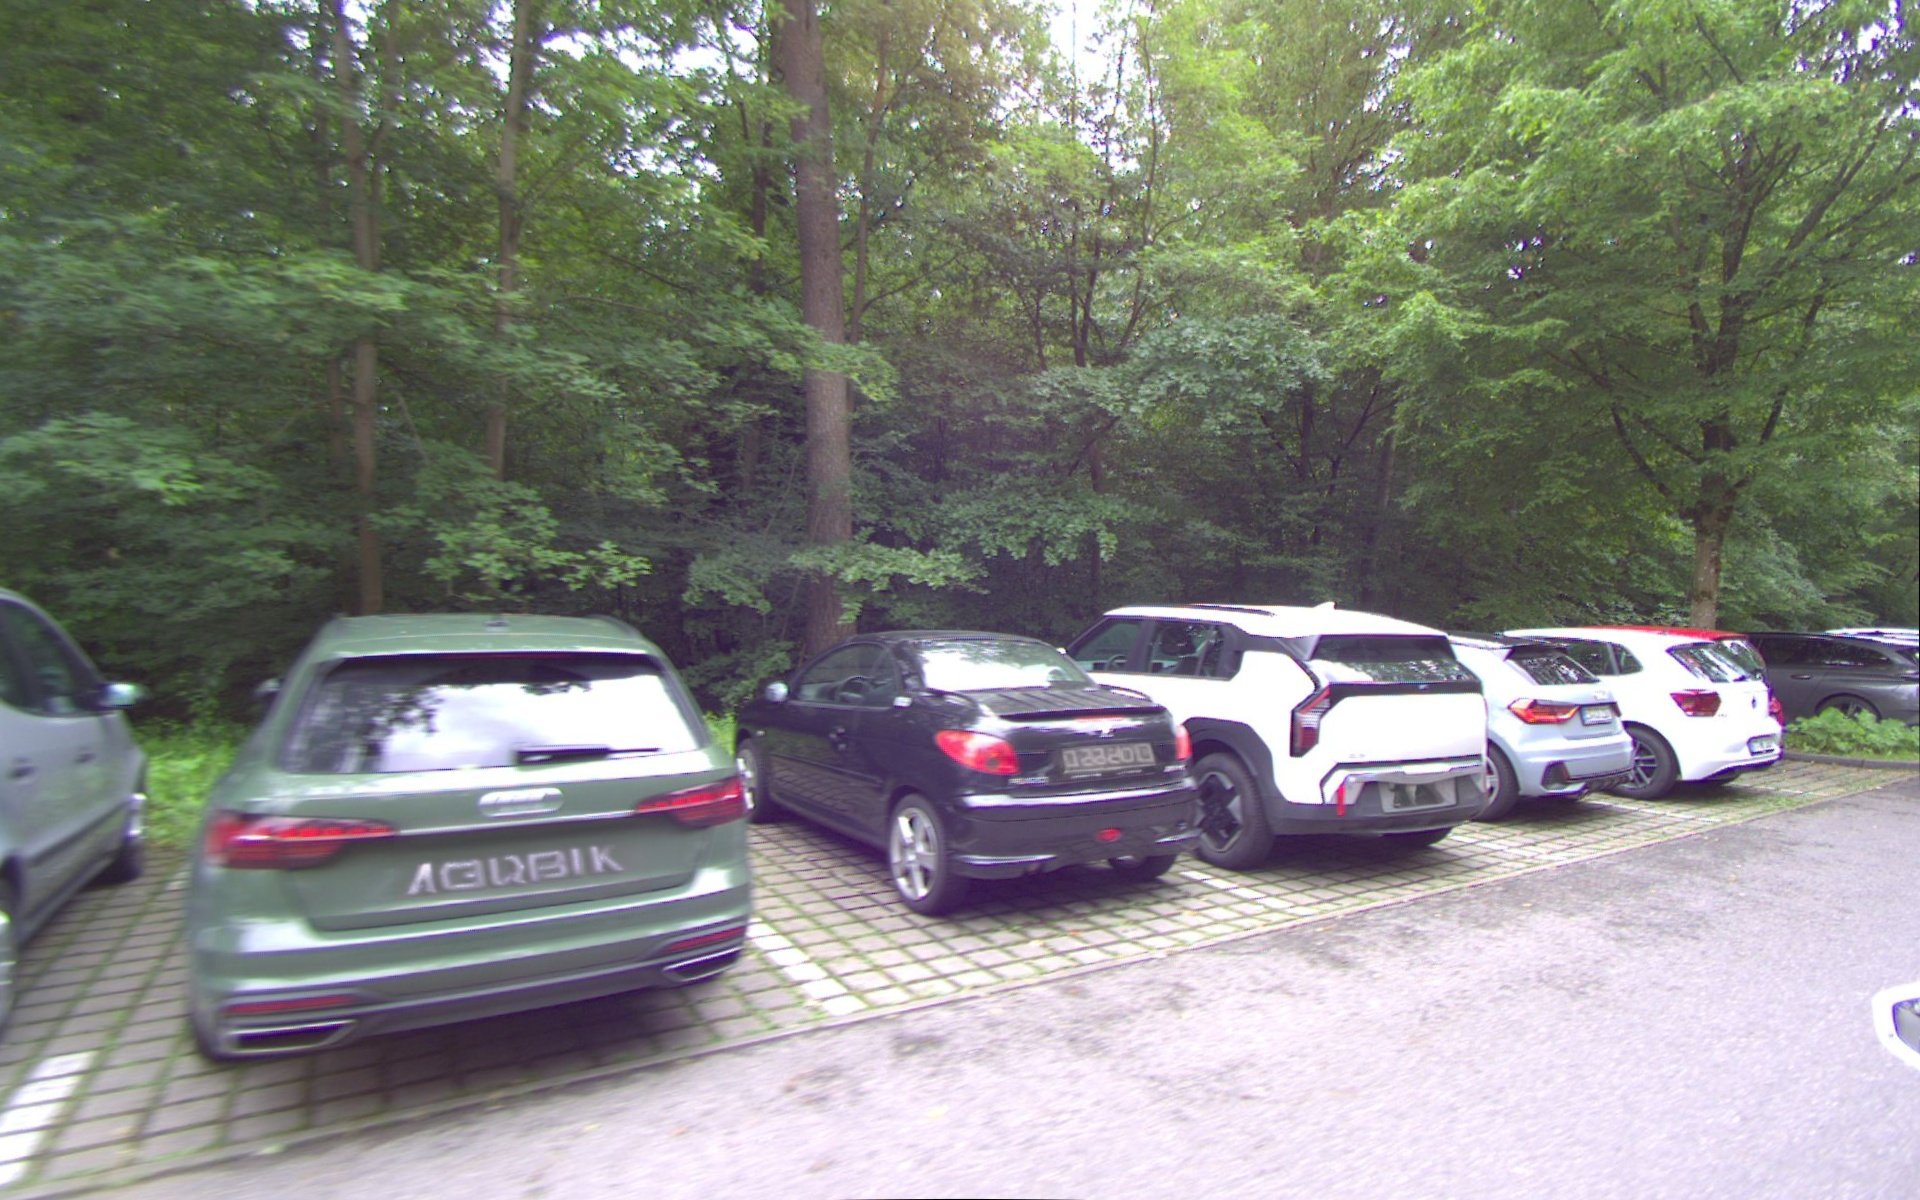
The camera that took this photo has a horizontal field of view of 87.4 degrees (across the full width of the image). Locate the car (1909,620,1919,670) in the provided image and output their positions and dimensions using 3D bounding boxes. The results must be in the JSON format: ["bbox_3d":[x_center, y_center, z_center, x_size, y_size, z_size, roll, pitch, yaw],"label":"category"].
[{"bbox_3d":[32.879,1.494,31.406,1.910,1.605,4.479,1,0,-39],"label":"car"}]

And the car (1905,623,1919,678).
[{"bbox_3d":[29.234,1.480,28.005,1.904,1.575,4.000,1,0,-40],"label":"car"}]

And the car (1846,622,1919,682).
[{"bbox_3d":[26.735,1.427,27.022,1.834,1.571,4.194,1,0,-43],"label":"car"}]

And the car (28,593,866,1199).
[{"bbox_3d":[-2.369,0.765,4.797,2.071,1.497,4.616,1,-1,-30],"label":"car"}]

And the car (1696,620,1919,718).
[{"bbox_3d":[15.611,1.150,17.371,2.036,1.506,4.239,1,0,-34],"label":"car"}]

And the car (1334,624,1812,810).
[{"bbox_3d":[5.935,0.991,10.141,1.851,1.438,3.706,1,-1,-32],"label":"car"}]

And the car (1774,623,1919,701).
[{"bbox_3d":[19.576,1.271,20.516,1.876,1.506,4.329,2,-1,-40],"label":"car"}]

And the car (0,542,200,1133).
[{"bbox_3d":[-4.597,0.667,4.122,1.948,1.669,4.210,1,-1,-32],"label":"car"}]

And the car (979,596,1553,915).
[{"bbox_3d":[1.856,0.834,7.406,1.970,1.649,3.950,1,-1,-24],"label":"car"}]

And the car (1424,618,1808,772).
[{"bbox_3d":[7.570,0.983,11.877,1.666,1.500,3.445,1,-1,-33],"label":"car"}]

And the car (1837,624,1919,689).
[{"bbox_3d":[23.646,1.356,23.432,1.853,1.506,4.529,1,-1,-37],"label":"car"}]

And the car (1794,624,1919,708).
[{"bbox_3d":[17.867,1.225,18.813,1.666,1.463,3.194,1,0,-38],"label":"car"}]

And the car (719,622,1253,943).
[{"bbox_3d":[-0.135,0.861,6.532,1.710,1.374,3.769,1,-1,-32],"label":"car"}]

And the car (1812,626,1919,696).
[{"bbox_3d":[21.797,1.359,22.023,2.070,1.466,4.522,1,-1,-41],"label":"car"}]

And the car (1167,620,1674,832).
[{"bbox_3d":[3.938,0.925,9.118,1.879,1.440,3.776,1,-1,-36],"label":"car"}]

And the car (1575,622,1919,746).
[{"bbox_3d":[11.626,1.085,14.397,2.014,1.443,4.378,1,0,-34],"label":"car"}]
